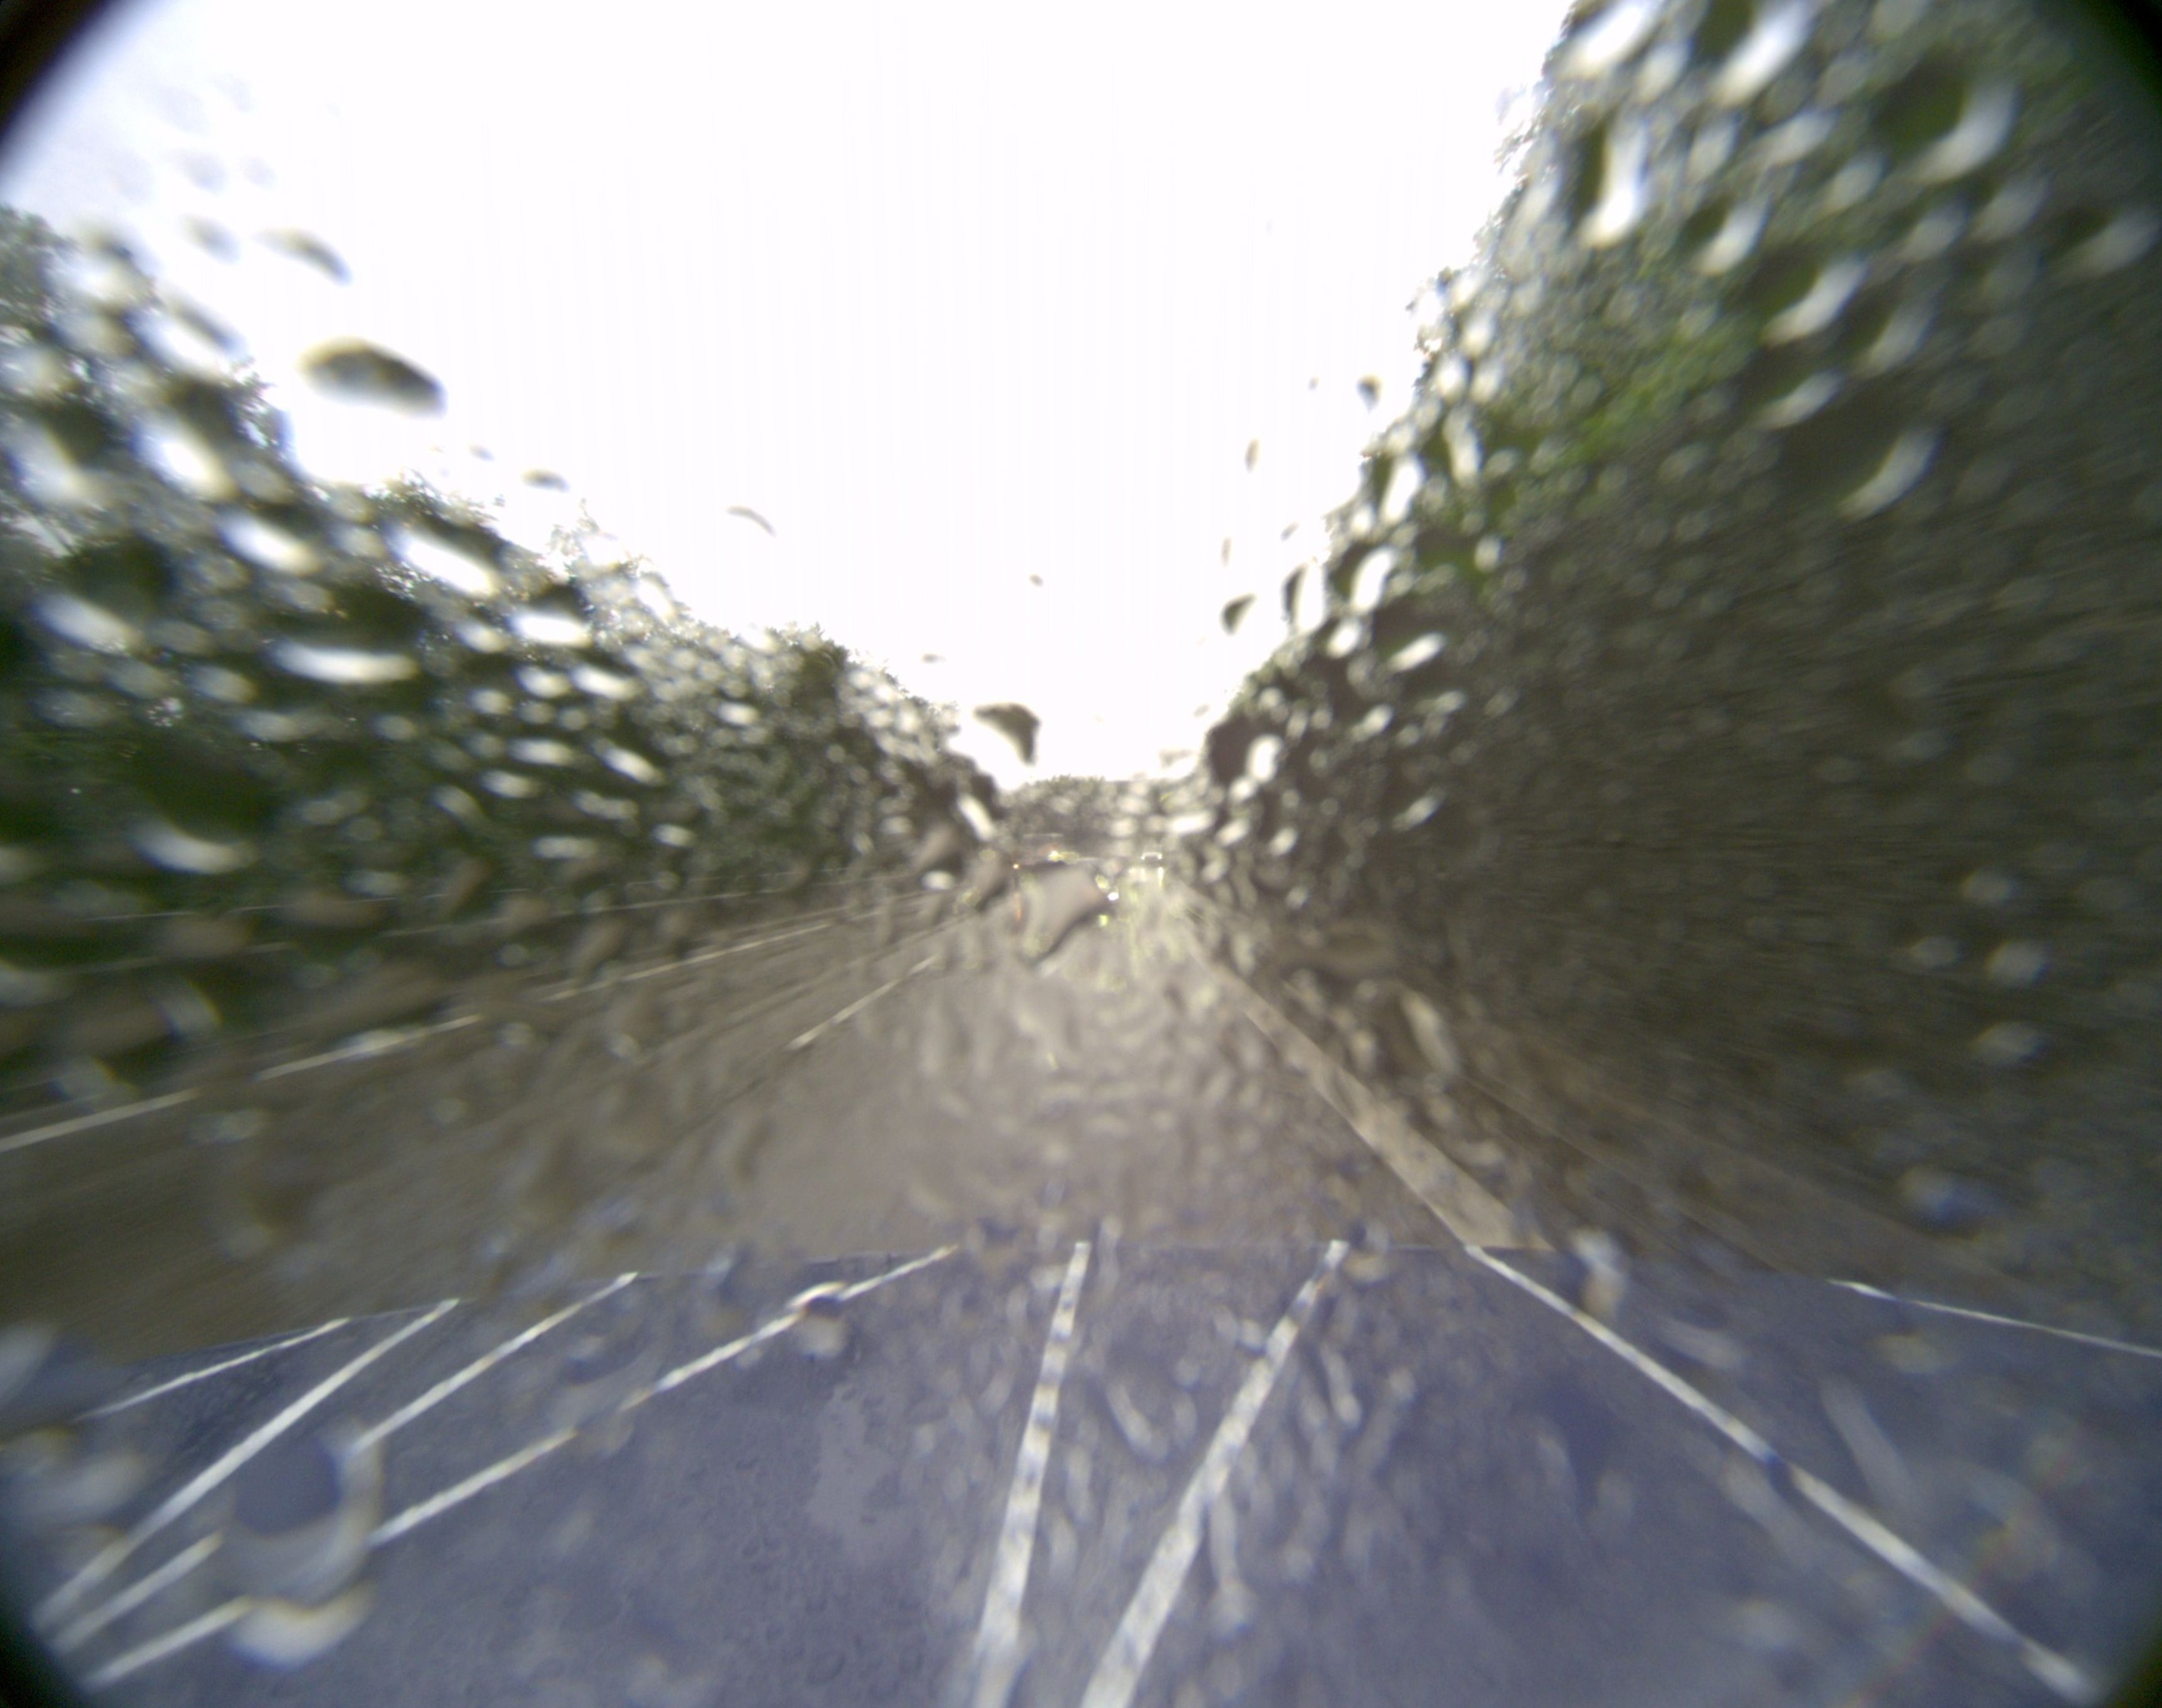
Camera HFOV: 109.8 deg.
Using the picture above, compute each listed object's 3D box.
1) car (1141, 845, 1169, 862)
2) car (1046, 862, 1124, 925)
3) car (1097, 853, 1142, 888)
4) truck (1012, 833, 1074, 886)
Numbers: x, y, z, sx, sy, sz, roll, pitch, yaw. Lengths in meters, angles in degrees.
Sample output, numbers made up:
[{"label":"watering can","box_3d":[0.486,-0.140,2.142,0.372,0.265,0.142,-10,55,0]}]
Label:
[{"label":"car","box_3d":[7.033,-0.038,71.586,1.825,1.375,4.004,-4,0,16]},{"label":"car","box_3d":[0.120,0.962,20.262,1.827,1.375,4.000,-2,0,1]},{"label":"car","box_3d":[1.834,0.712,35.227,1.827,1.375,4.001,-4,0,5]},{"label":"truck","box_3d":[-1.864,0.228,40.455,2.108,2.481,8.005,-2,0,5]}]
